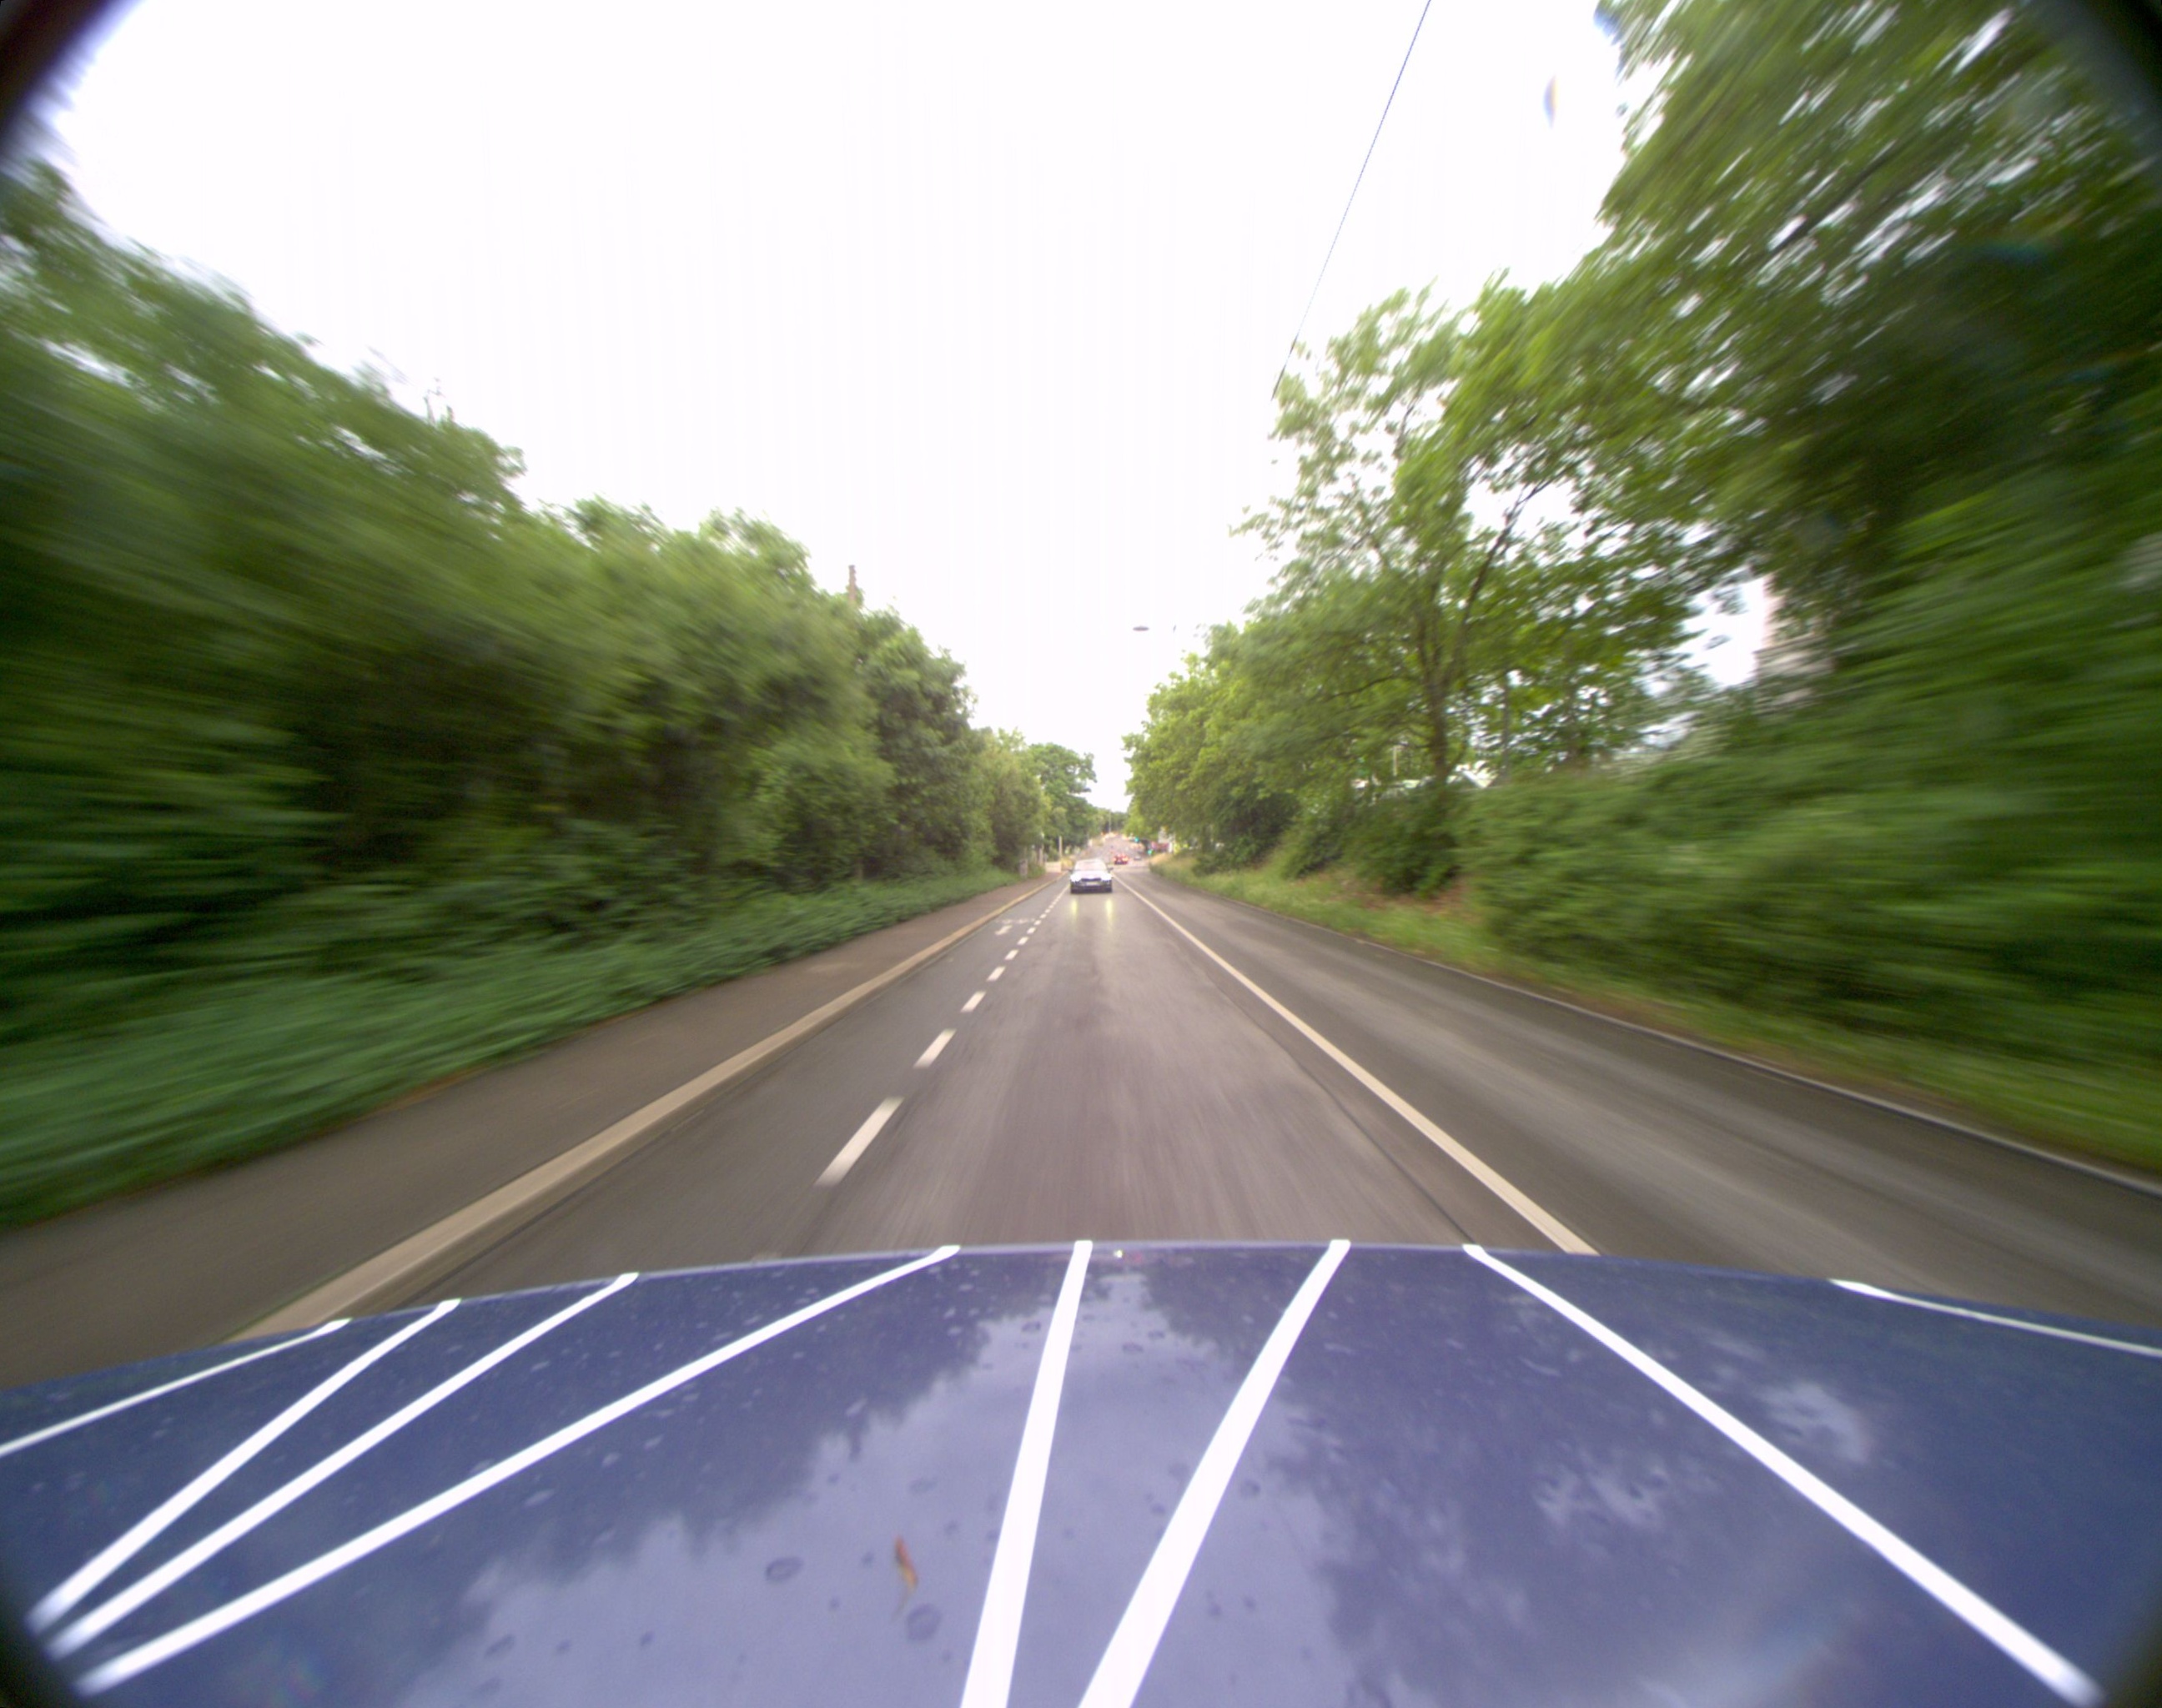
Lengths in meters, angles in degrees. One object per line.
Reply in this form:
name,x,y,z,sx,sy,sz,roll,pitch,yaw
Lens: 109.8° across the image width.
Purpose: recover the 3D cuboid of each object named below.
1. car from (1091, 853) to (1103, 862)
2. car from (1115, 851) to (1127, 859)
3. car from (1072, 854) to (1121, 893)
car,2.861,0.568,133.910,1.981,1.497,4.000,-2,1,1
car,7.763,0.239,147.636,1.981,1.497,4.000,-2,1,1
car,0.659,0.790,33.418,1.981,1.497,4.000,-2,1,1
